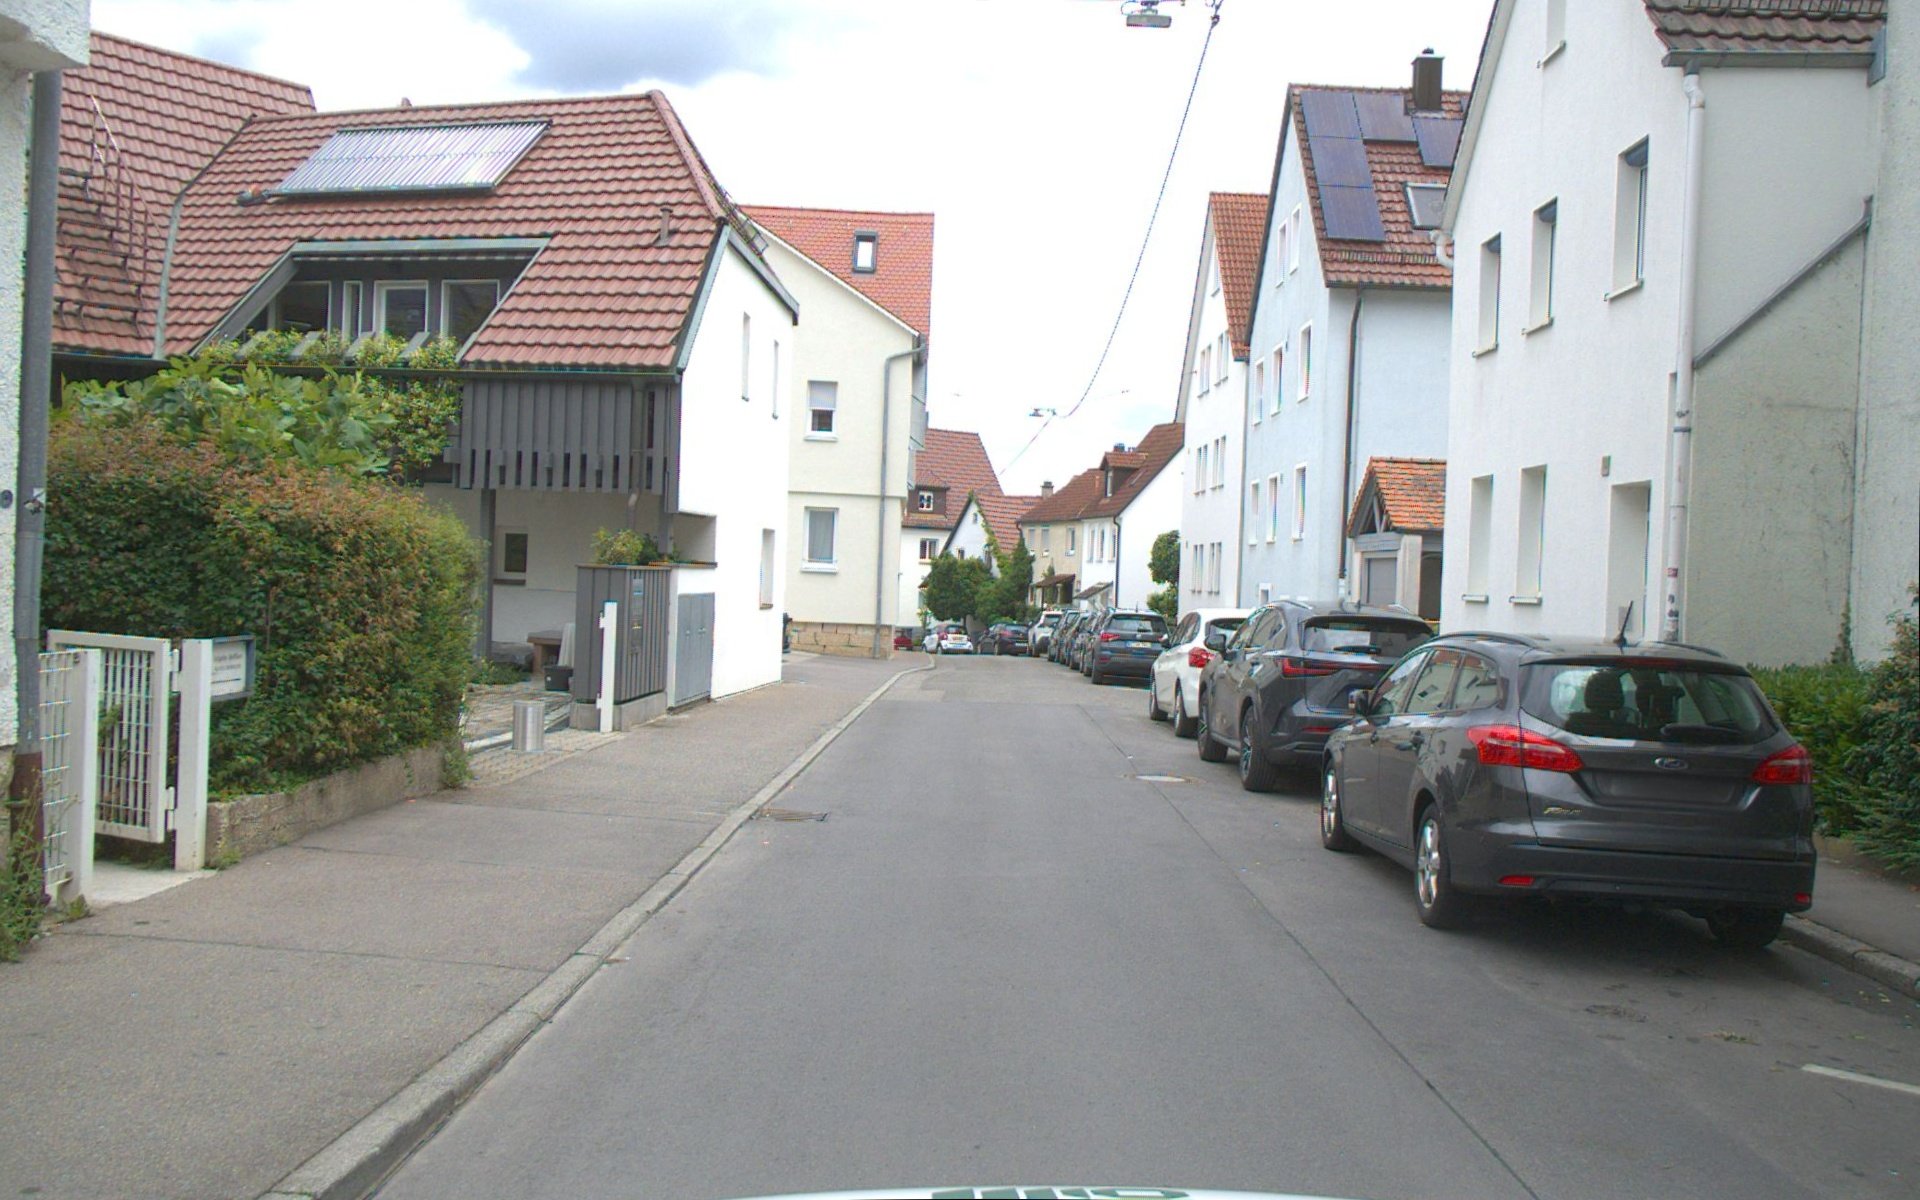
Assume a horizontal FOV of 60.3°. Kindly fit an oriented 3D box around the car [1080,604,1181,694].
[{"bbox_3d":[3.510,0.965,34.770,1.717,1.656,4.536,3,0,2],"label":"car"}]

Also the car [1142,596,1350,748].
[{"bbox_3d":[3.582,0.829,21.594,1.952,1.643,4.880,3,0,2],"label":"car"}]

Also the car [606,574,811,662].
[{"bbox_3d":[-5.097,0.390,33.919,3.653,1.436,2.121,5,-2,5],"label":"car"}]

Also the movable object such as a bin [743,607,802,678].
[{"bbox_3d":[-3.072,0.699,27.134,0.602,1.094,0.752,4,-1,22],"label":"movable object such as a bin"}]

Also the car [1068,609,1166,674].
[{"bbox_3d":[3.683,0.955,39.495,1.879,1.434,4.655,1,-1,0],"label":"car"}]

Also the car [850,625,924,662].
[{"bbox_3d":[-3.785,2.251,85.224,1.977,1.713,3.952,-4,-1,-34],"label":"car"}]

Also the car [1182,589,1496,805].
[{"bbox_3d":[3.373,0.792,15.710,1.825,1.662,4.901,2,0,0],"label":"car"}]

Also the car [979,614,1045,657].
[{"bbox_3d":[2.195,1.542,70.844,1.958,1.743,3.988,1,-3,-11],"label":"car"}]

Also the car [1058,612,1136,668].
[{"bbox_3d":[3.669,1.091,44.836,1.760,1.376,4.074,2,-2,0],"label":"car"}]

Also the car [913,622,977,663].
[{"bbox_3d":[-0.744,2.029,79.795,1.932,1.743,3.980,3,0,-18],"label":"car"}]

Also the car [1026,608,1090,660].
[{"bbox_3d":[3.500,1.231,59.802,1.835,1.743,4.145,2,-1,-2],"label":"car"}]

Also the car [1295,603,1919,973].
[{"bbox_3d":[3.379,0.835,9.727,1.908,1.534,4.821,3,0,2],"label":"car"}]

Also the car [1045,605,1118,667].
[{"bbox_3d":[3.633,1.086,50.056,1.701,1.638,3.998,5,-1,-1],"label":"car"}]
